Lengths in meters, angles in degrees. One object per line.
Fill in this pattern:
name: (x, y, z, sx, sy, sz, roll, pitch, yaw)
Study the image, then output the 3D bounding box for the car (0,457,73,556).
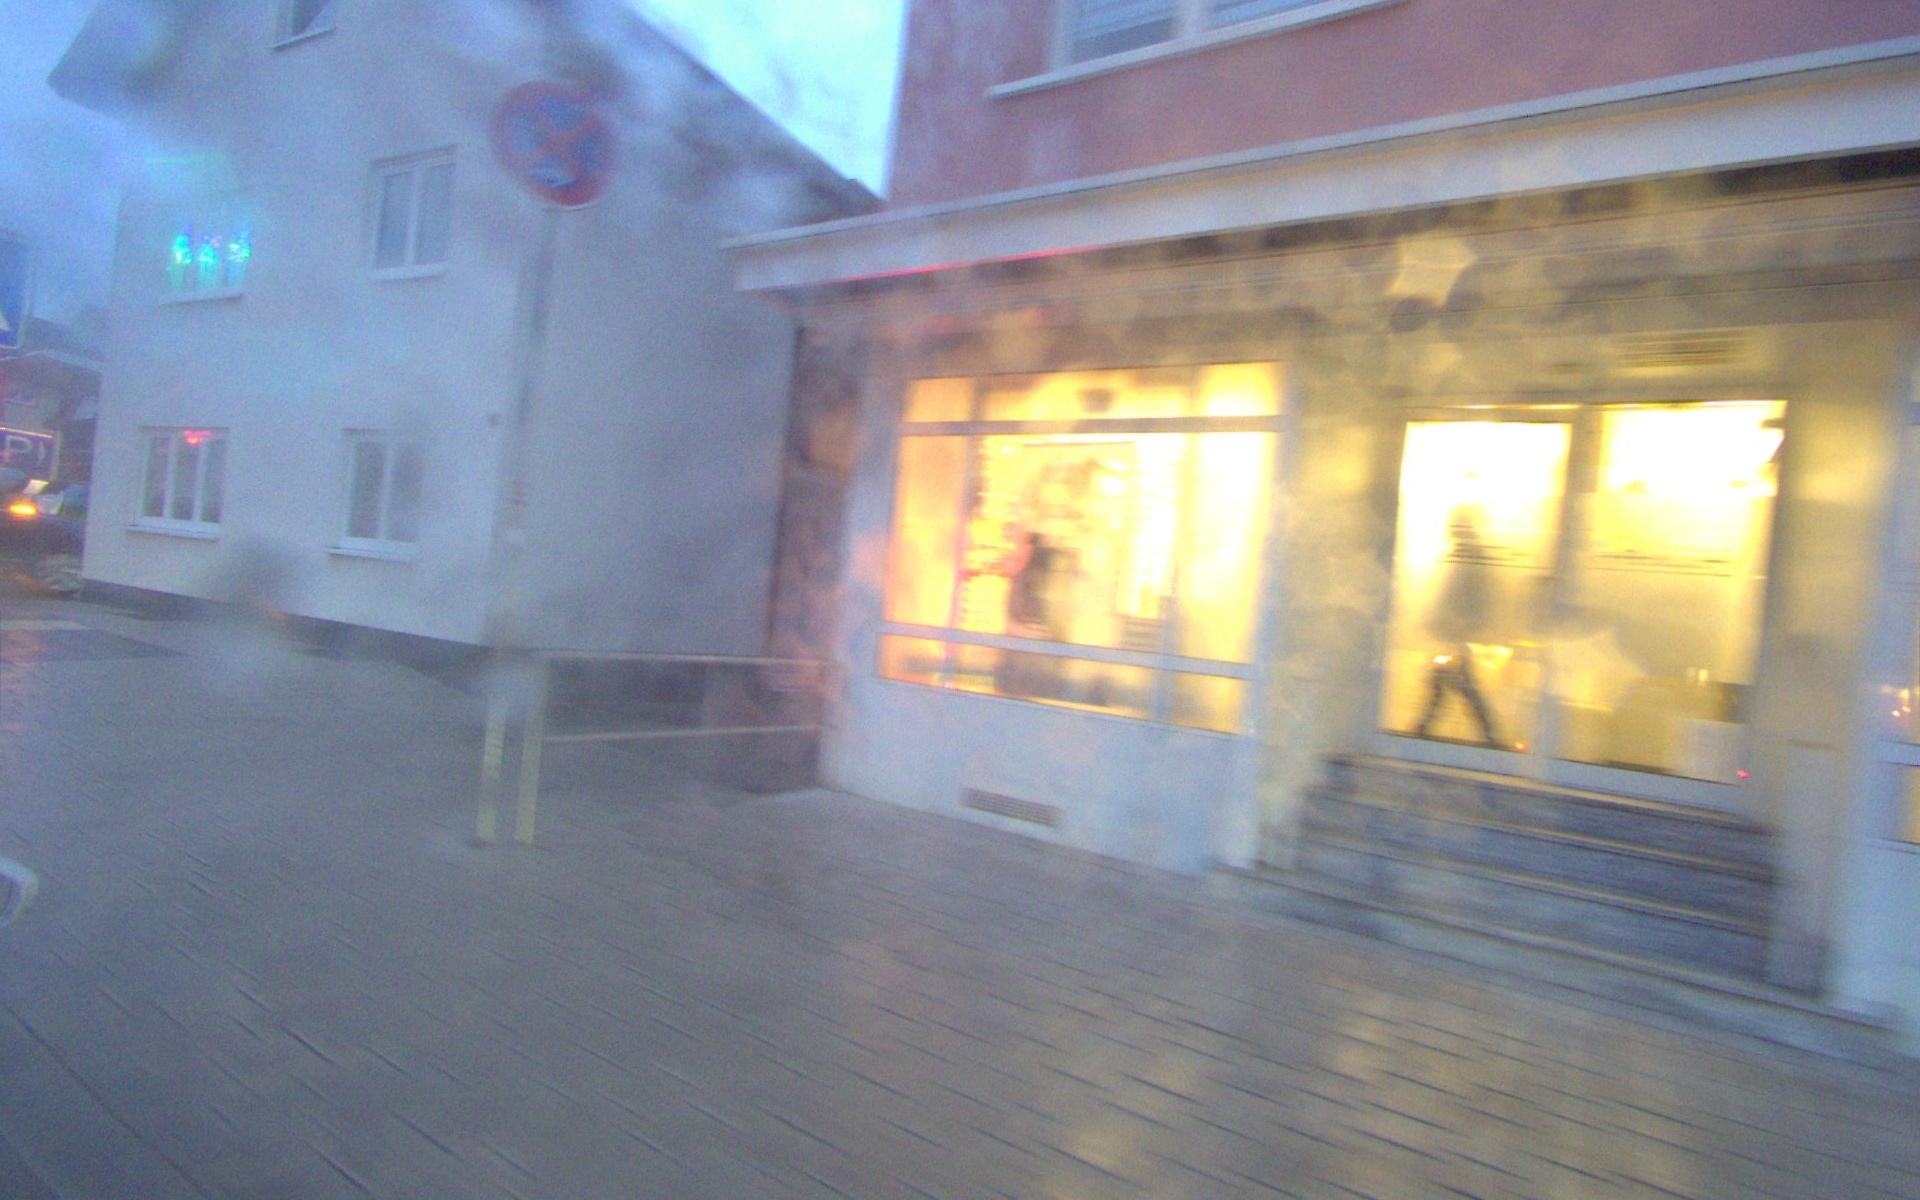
car: (-22.673, -2.276, 22.419, 1.972, 2.076, 4.083, 7, 1, 41)

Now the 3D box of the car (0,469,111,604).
car: (-13.267, -0.993, 12.320, 1.961, 1.643, 4.005, 7, -2, 5)

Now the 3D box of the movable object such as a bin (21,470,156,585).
movable object such as a bin: (-14.211, -1.166, 16.415, 1.165, 1.666, 1.286, 7, 2, 30)

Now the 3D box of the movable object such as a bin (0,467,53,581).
movable object such as a bin: (-14.972, -1.216, 15.283, 1.240, 1.665, 1.394, 7, 2, 30)
